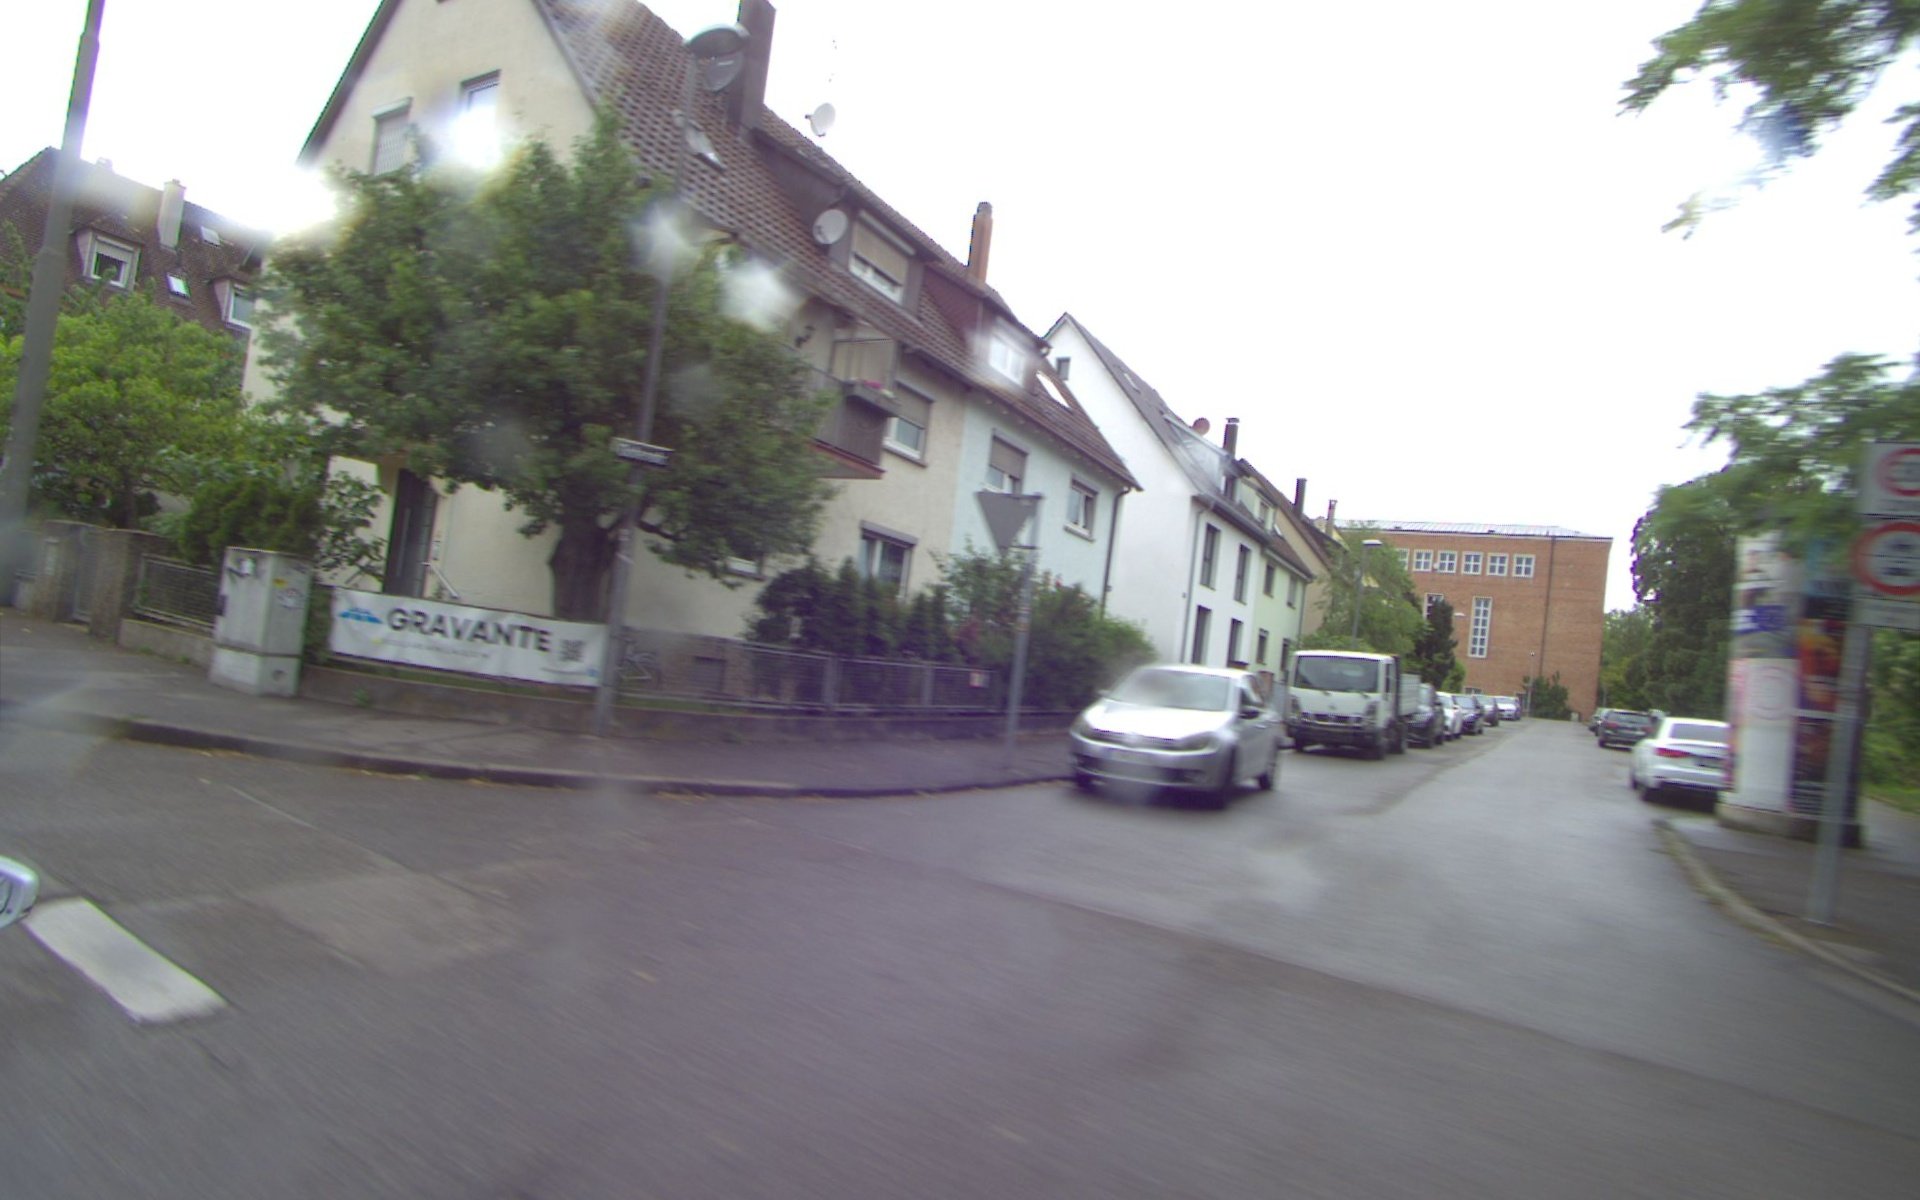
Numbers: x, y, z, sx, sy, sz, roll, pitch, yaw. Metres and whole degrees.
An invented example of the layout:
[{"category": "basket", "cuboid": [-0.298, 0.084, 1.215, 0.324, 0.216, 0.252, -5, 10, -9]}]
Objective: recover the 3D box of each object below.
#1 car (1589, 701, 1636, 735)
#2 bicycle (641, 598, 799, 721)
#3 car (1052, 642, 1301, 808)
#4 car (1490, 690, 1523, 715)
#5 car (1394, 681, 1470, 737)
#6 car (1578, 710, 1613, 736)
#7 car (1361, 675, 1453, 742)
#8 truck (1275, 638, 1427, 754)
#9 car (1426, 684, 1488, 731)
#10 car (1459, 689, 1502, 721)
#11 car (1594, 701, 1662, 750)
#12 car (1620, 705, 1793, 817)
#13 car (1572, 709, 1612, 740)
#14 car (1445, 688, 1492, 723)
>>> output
[{"category": "car", "cuboid": [34.459, 6.237, 53.184, 1.675, 1.537, 3.997, 5, -3, 29]}, {"category": "bicycle", "cuboid": [-2.462, 0.653, 10.485, 0.450, 1.127, 1.572, 7, -2, 36]}, {"category": "car", "cuboid": [2.716, 1.418, 11.851, 1.675, 1.439, 3.997, 5, -3, 29]}, {"category": "car", "cuboid": [37.062, 6.966, 68.184, 1.676, 1.439, 3.994, 5, -2, 31]}, {"category": "car", "cuboid": [15.084, 3.459, 32.048, 1.676, 1.439, 3.994, 7, -1, 31]}, {"category": "car", "cuboid": [44.249, 8.531, 70.135, 1.675, 1.537, 3.997, 5, -3, 29]}, {"category": "car", "cuboid": [12.136, 2.921, 27.164, 1.676, 1.439, 3.994, 7, -1, 31]}, {"category": "truck", "cuboid": [8.702, 2.106, 22.011, 1.968, 2.083, 5.838, 3, -4, 32]}, {"category": "car", "cuboid": [18.991, 4.086, 38.364, 1.676, 1.439, 3.994, 7, -1, 31]}, {"category": "car", "cuboid": [27.636, 5.564, 53.391, 1.676, 1.439, 3.994, 5, -2, 31]}, {"category": "car", "cuboid": [24.976, 4.672, 37.709, 1.675, 1.537, 3.997, 5, -3, 29]}, {"category": "car", "cuboid": [12.515, 2.624, 17.126, 1.675, 1.439, 4.361, 5, -3, 29]}, {"category": "car", "cuboid": [37.797, 7.419, 60.215, 1.675, 1.537, 3.997, 5, -3, 29]}, {"category": "car", "cuboid": [24.776, 5.135, 48.933, 1.676, 1.439, 3.994, 5, -2, 31]}]
